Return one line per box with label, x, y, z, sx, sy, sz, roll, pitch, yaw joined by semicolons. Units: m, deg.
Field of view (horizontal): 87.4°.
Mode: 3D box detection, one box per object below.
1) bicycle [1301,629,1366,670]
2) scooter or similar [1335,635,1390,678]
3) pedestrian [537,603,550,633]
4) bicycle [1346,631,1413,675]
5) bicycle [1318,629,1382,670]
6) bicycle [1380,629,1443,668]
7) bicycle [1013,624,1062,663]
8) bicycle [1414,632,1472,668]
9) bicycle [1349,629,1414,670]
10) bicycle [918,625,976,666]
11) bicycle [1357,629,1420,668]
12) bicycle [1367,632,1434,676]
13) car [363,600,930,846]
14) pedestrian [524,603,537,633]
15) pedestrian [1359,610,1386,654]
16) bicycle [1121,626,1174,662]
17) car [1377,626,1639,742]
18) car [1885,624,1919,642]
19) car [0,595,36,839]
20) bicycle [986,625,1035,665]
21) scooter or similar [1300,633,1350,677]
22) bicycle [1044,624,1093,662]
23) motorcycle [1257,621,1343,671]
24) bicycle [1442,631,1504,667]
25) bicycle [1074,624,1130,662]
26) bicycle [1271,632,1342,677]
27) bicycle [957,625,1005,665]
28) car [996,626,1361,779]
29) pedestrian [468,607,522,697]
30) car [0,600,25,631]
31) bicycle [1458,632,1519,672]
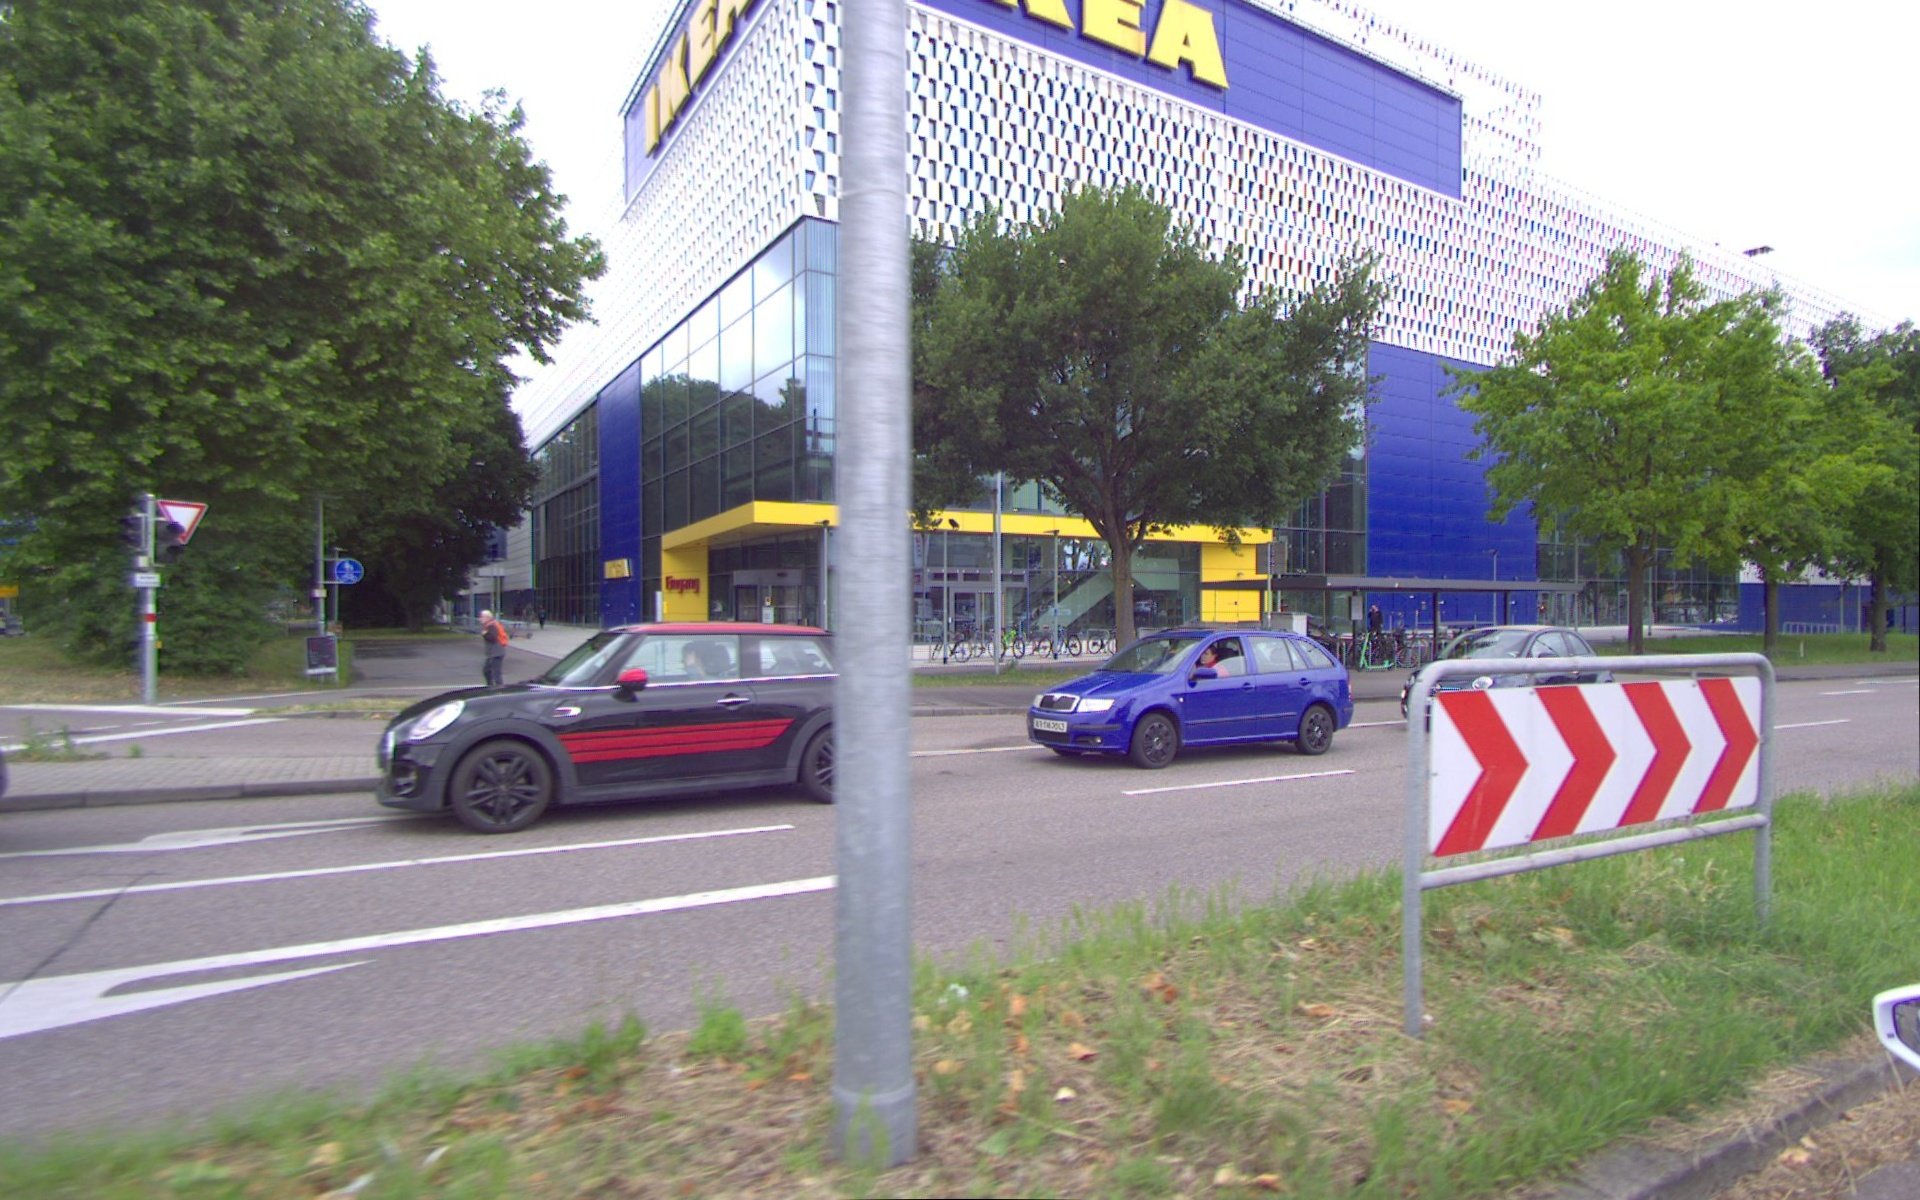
bicycle;12.033;1.574;32.425;0.586;1.172;2.006;1;2;-29
scooter or similar;11.444;1.601;28.575;1.322;1.164;0.424;2;1;2
pedestrian;-29.194;1.240;70.399;0.733;2.041;0.663;-1;1;-31
bicycle;12.645;1.592;30.352;0.586;1.172;1.885;1;2;-29
bicycle;12.670;1.587;32.720;0.586;1.172;2.006;1;2;-29
bicycle;15.624;1.663;34.787;0.586;1.172;2.006;1;2;-29
bicycle;2.606;1.449;33.895;0.587;1.172;2.005;1;1;-31
bicycle;16.899;1.729;35.172;0.586;1.096;1.801;1;2;-29
bicycle;13.858;1.604;33.070;0.586;1.172;2.006;1;2;-29
bicycle;-0.424;1.422;32.022;1.994;1.172;0.590;3;2;45
bicycle;14.524;1.626;34.119;0.586;1.172;2.006;1;2;-29
bicycle;13.548;1.646;30.923;0.586;1.172;1.885;1;2;-29
car;-2.387;0.850;8.006;4.018;1.522;1.654;2;-3;-31
pedestrian;-29.930;1.255;69.940;0.733;2.041;0.663;-1;1;-31
pedestrian;17.115;1.328;41.685;0.799;1.769;0.674;0;1;-30
bicycle;6.782;1.572;36.433;0.588;1.172;2.002;1;1;-35
car;8.147;1.189;14.861;3.991;1.517;1.595;2;-3;-31
car;111.918;3.839;117.530;1.860;1.990;5.103;-4;1;-32
car;-7.232;0.673;5.278;3.174;1.522;1.594;2;-2;-32
bicycle;1.659;1.468;33.351;0.587;1.172;2.005;1;1;-31
scooter or similar;10.417;1.559;28.661;1.266;1.201;0.359;2;1;8
bicycle;3.714;1.458;34.535;0.587;1.172;2.005;1;1;-31
motorcycle;10.694;1.431;31.713;0.794;1.374;2.469;1;2;-41
bicycle;18.631;1.758;36.548;0.586;1.137;2.008;1;2;-27
bicycle;4.962;1.495;35.203;0.589;1.172;1.997;1;2;-42
bicycle;9.762;1.520;28.395;0.586;1.172;2.006;1;0;-29
bicycle;0.668;1.444;32.887;0.587;1.172;2.005;1;1;-31
car;2.550;1.078;11.410;4.096;1.463;1.595;2;-3;-31
pedestrian;-8.824;0.979;19.063;0.801;1.664;0.629;3;-1;-32
car;-53.384;0.807;55.617;1.781;1.606;4.101;4;-2;-36
bicycle;17.853;1.747;33.989;0.584;1.172;2.016;1;1;-15
